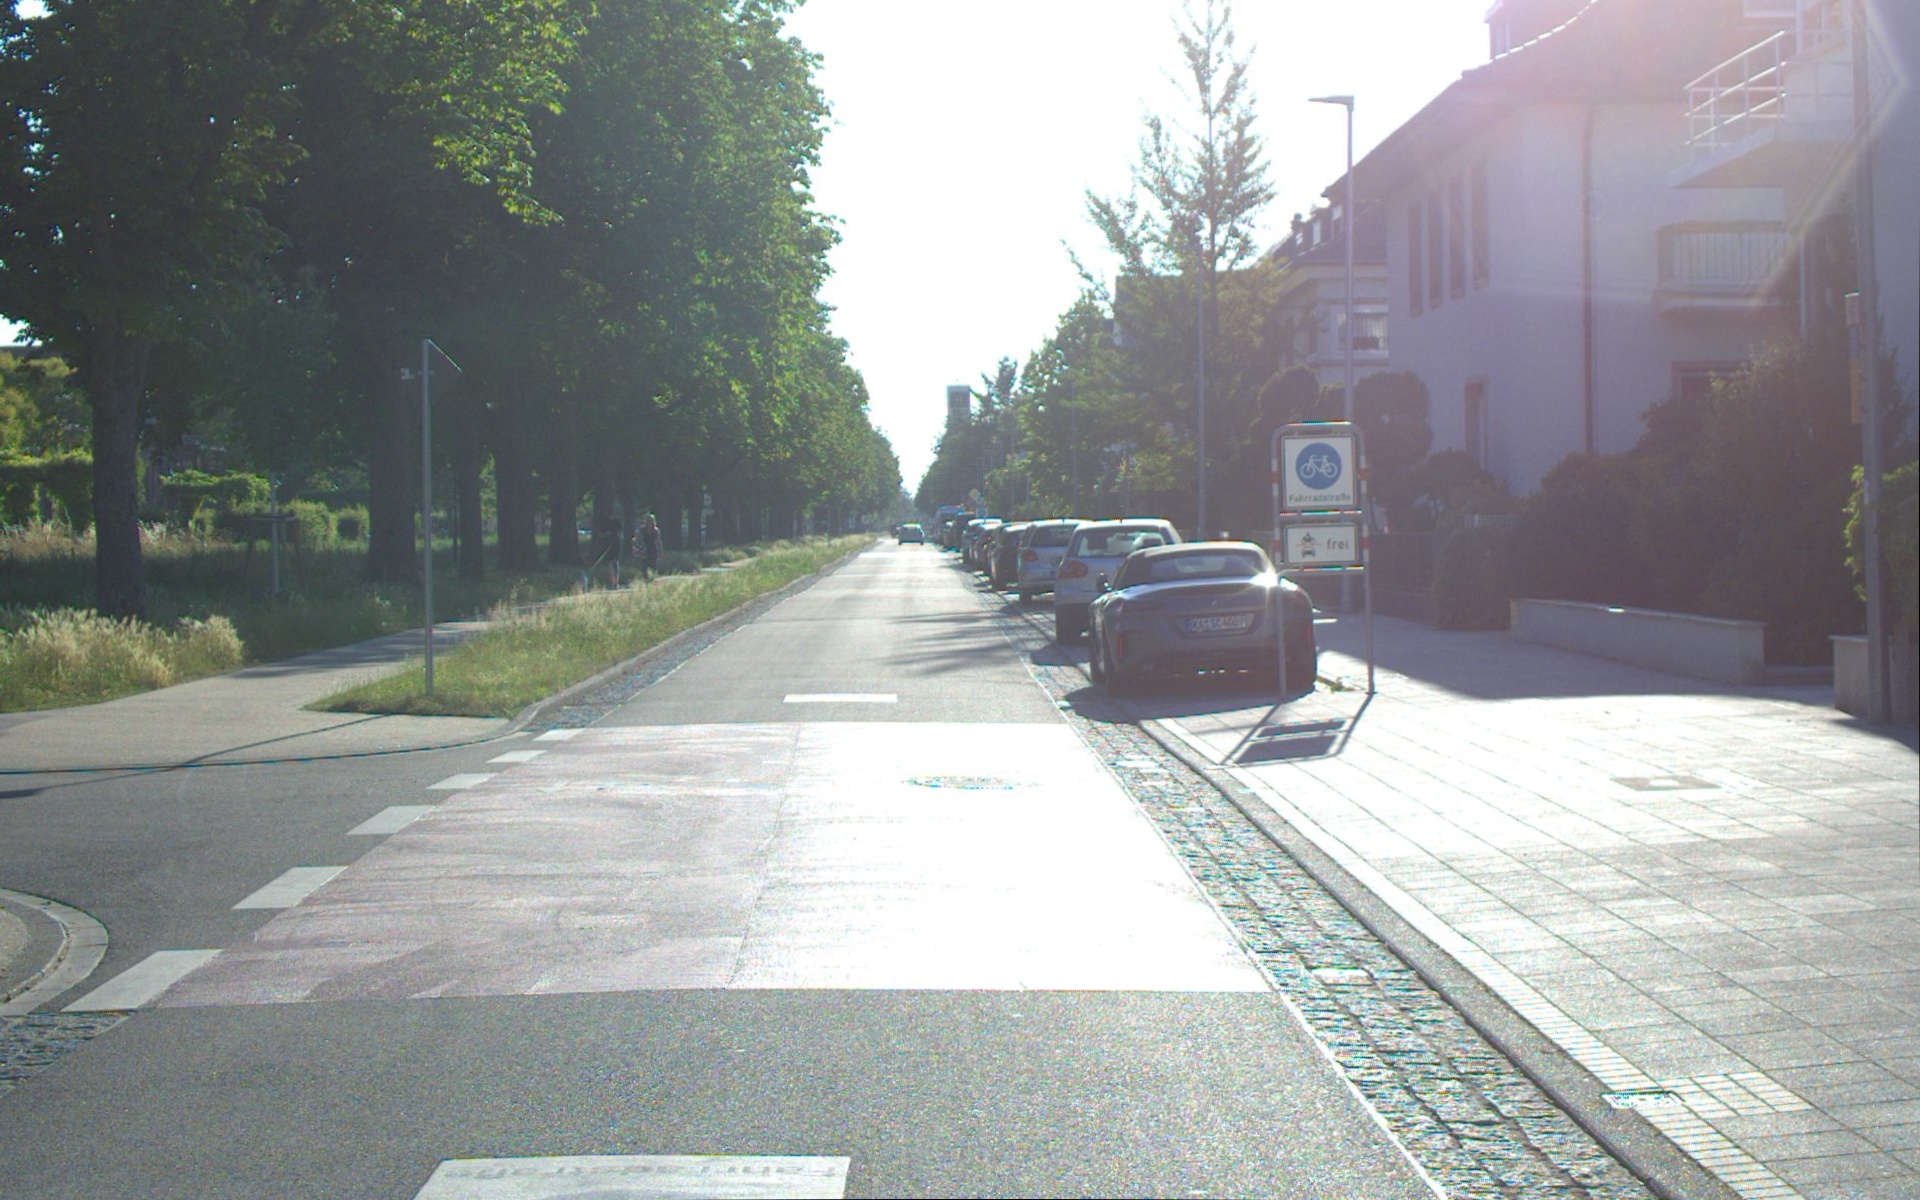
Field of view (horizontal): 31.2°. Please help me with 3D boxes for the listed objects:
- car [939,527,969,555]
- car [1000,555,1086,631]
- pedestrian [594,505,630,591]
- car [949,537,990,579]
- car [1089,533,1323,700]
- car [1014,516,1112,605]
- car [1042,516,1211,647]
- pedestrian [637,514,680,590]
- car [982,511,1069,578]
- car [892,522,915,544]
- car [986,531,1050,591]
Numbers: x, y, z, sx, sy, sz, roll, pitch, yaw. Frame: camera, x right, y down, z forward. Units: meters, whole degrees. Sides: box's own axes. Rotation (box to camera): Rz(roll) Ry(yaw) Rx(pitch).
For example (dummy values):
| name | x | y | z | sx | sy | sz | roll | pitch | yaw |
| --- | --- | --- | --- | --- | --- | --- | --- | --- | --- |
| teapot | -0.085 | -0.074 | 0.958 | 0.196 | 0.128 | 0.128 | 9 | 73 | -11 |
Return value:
| name | x | y | z | sx | sy | sz | roll | pitch | yaw |
| --- | --- | --- | --- | --- | --- | --- | --- | --- | --- |
| car | -0.312 | -3.339 | 193.035 | 1.652 | 1.536 | 3.267 | 1 | 1 | 0 |
| car | 1.753 | -0.164 | 71.604 | 1.658 | 1.488 | 3.716 | -2 | 1 | 3 |
| pedestrian | -7.407 | -1.111 | 73.236 | 0.624 | 1.824 | 0.886 | 0 | 1 | 3 |
| car | 0.373 | -1.612 | 130.595 | 1.498 | 1.561 | 3.267 | -1 | 1 | 0 |
| car | 2.206 | 0.101 | 31.839 | 1.774 | 1.284 | 4.273 | -3 | 2 | 0 |
| car | 1.868 | -0.748 | 63.079 | 1.627 | 1.499 | 3.633 | -2 | 2 | 0 |
| car | 2.042 | -0.270 | 43.172 | 1.744 | 1.469 | 3.923 | -3 | 1 | -2 |
| pedestrian | -6.452 | -1.033 | 73.504 | 0.783 | 1.609 | 0.952 | 0 | 1 | 3 |
| car | 1.491 | -1.274 | 79.414 | 1.736 | 1.444 | 4.197 | -2 | 1 | -2 |
| car | -4.031 | -4.789 | 244.957 | 1.652 | 1.536 | 3.267 | 1 | 1 | -1 |
| car | 1.485 | -1.039 | 89.340 | 1.592 | 1.504 | 3.592 | -1 | 1 | 0 |
